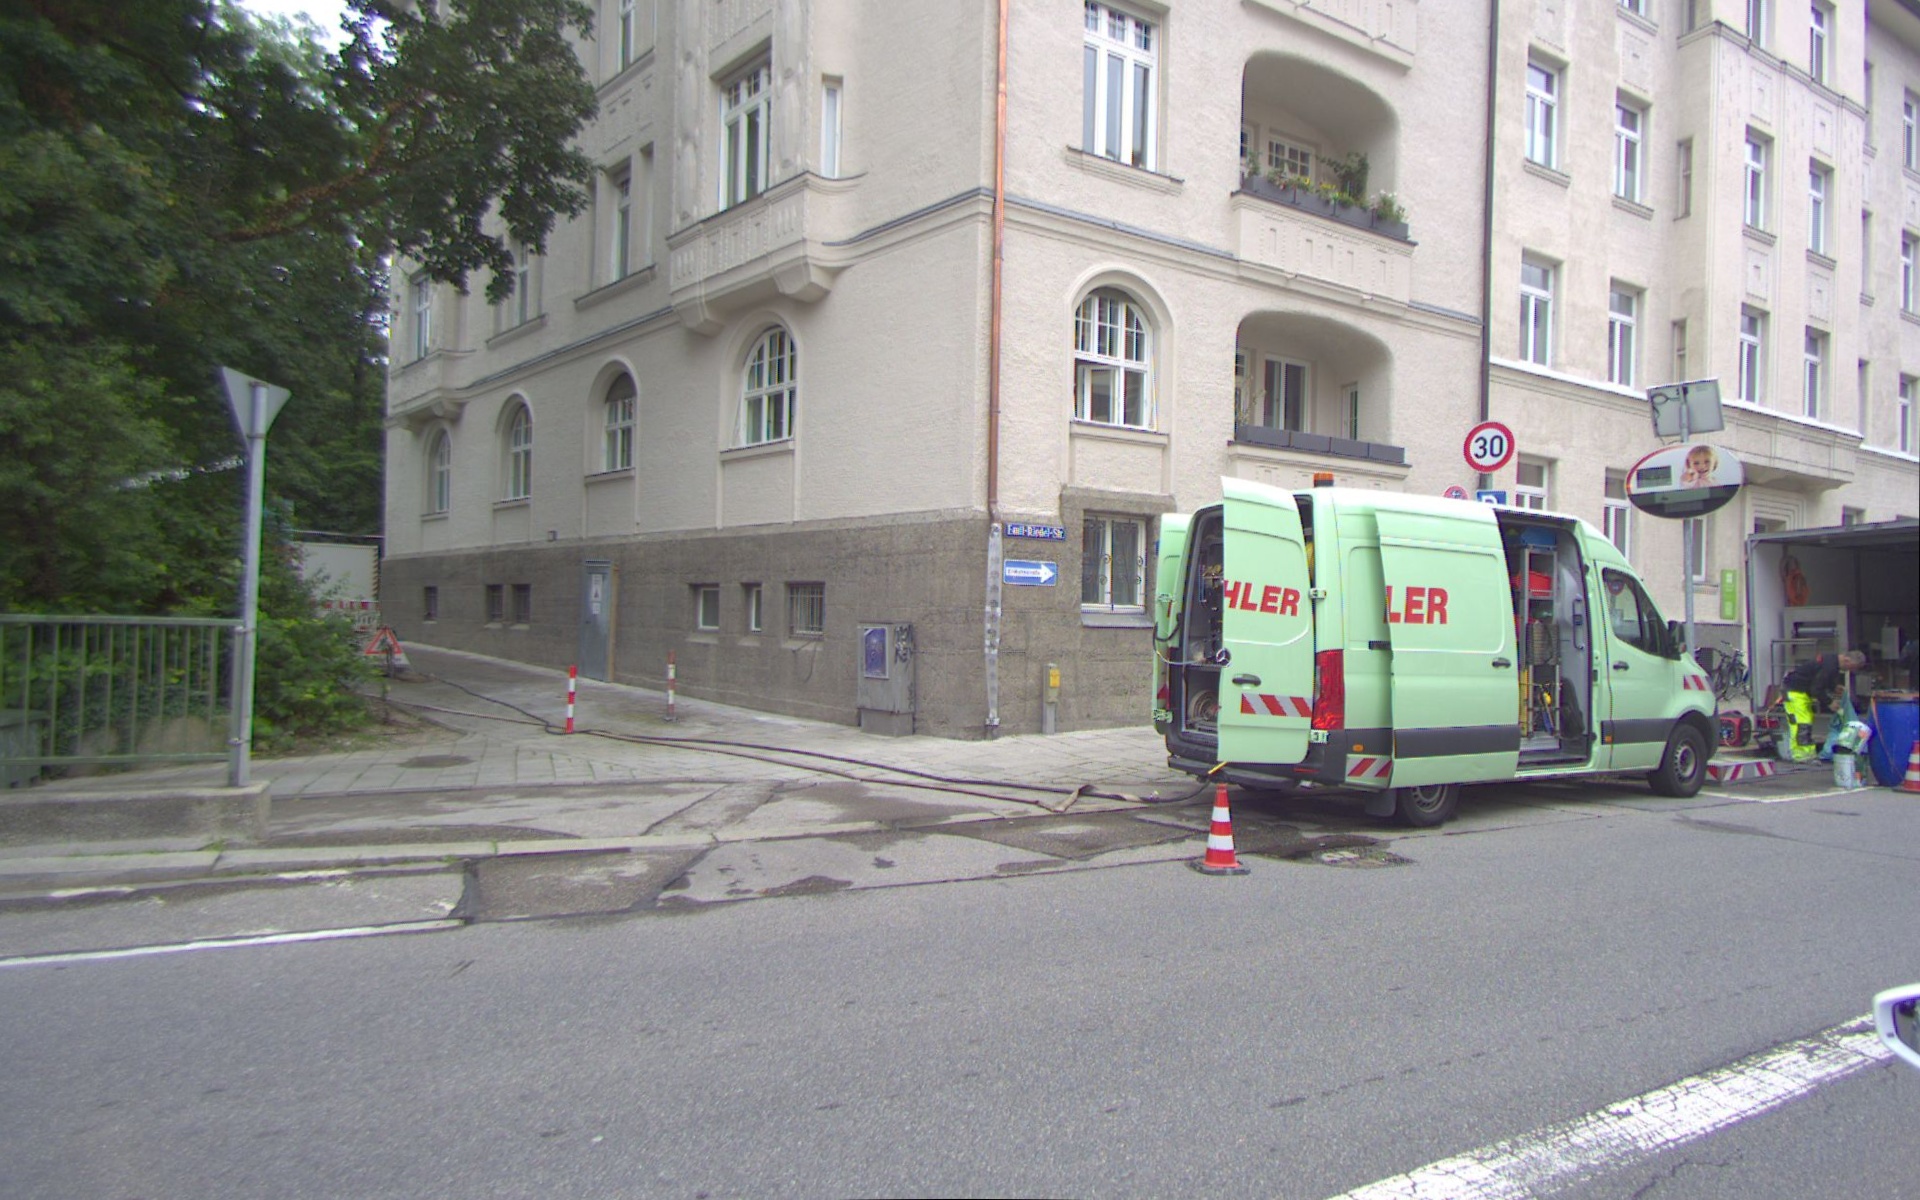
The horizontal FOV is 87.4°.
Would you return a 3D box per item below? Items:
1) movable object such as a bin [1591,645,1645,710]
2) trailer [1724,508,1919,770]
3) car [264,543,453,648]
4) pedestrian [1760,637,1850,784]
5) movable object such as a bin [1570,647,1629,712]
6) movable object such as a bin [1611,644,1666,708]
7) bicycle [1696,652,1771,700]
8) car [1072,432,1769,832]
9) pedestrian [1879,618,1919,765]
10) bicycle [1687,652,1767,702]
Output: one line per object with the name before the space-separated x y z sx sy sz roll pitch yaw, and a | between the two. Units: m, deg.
movable object such as a bin | 12.093 1.415 18.459 0.547 1.143 0.646 2 -1 -26
trailer | 14.155 0.536 13.772 7.500 3.007 2.795 1 -4 -27
car | -19.907 -0.053 33.429 2.445 3.216 4.787 0 -2 37
pedestrian | 9.722 1.234 11.557 0.753 1.601 0.633 0 -2 44
movable object such as a bin | 11.575 1.430 18.192 0.630 1.143 0.674 2 -1 -26
movable object such as a bin | 12.613 1.408 18.684 0.547 1.143 0.670 2 -1 -26
bicycle | 16.048 1.584 20.840 1.732 0.926 0.414 2 2 -24
car | 4.408 0.297 9.111 6.710 2.606 2.132 2 -1 -28
pedestrian | 11.069 1.039 11.528 0.753 1.652 0.634 0 -2 42
bicycle | 15.425 1.558 20.187 1.563 0.926 0.394 3 2 -17
